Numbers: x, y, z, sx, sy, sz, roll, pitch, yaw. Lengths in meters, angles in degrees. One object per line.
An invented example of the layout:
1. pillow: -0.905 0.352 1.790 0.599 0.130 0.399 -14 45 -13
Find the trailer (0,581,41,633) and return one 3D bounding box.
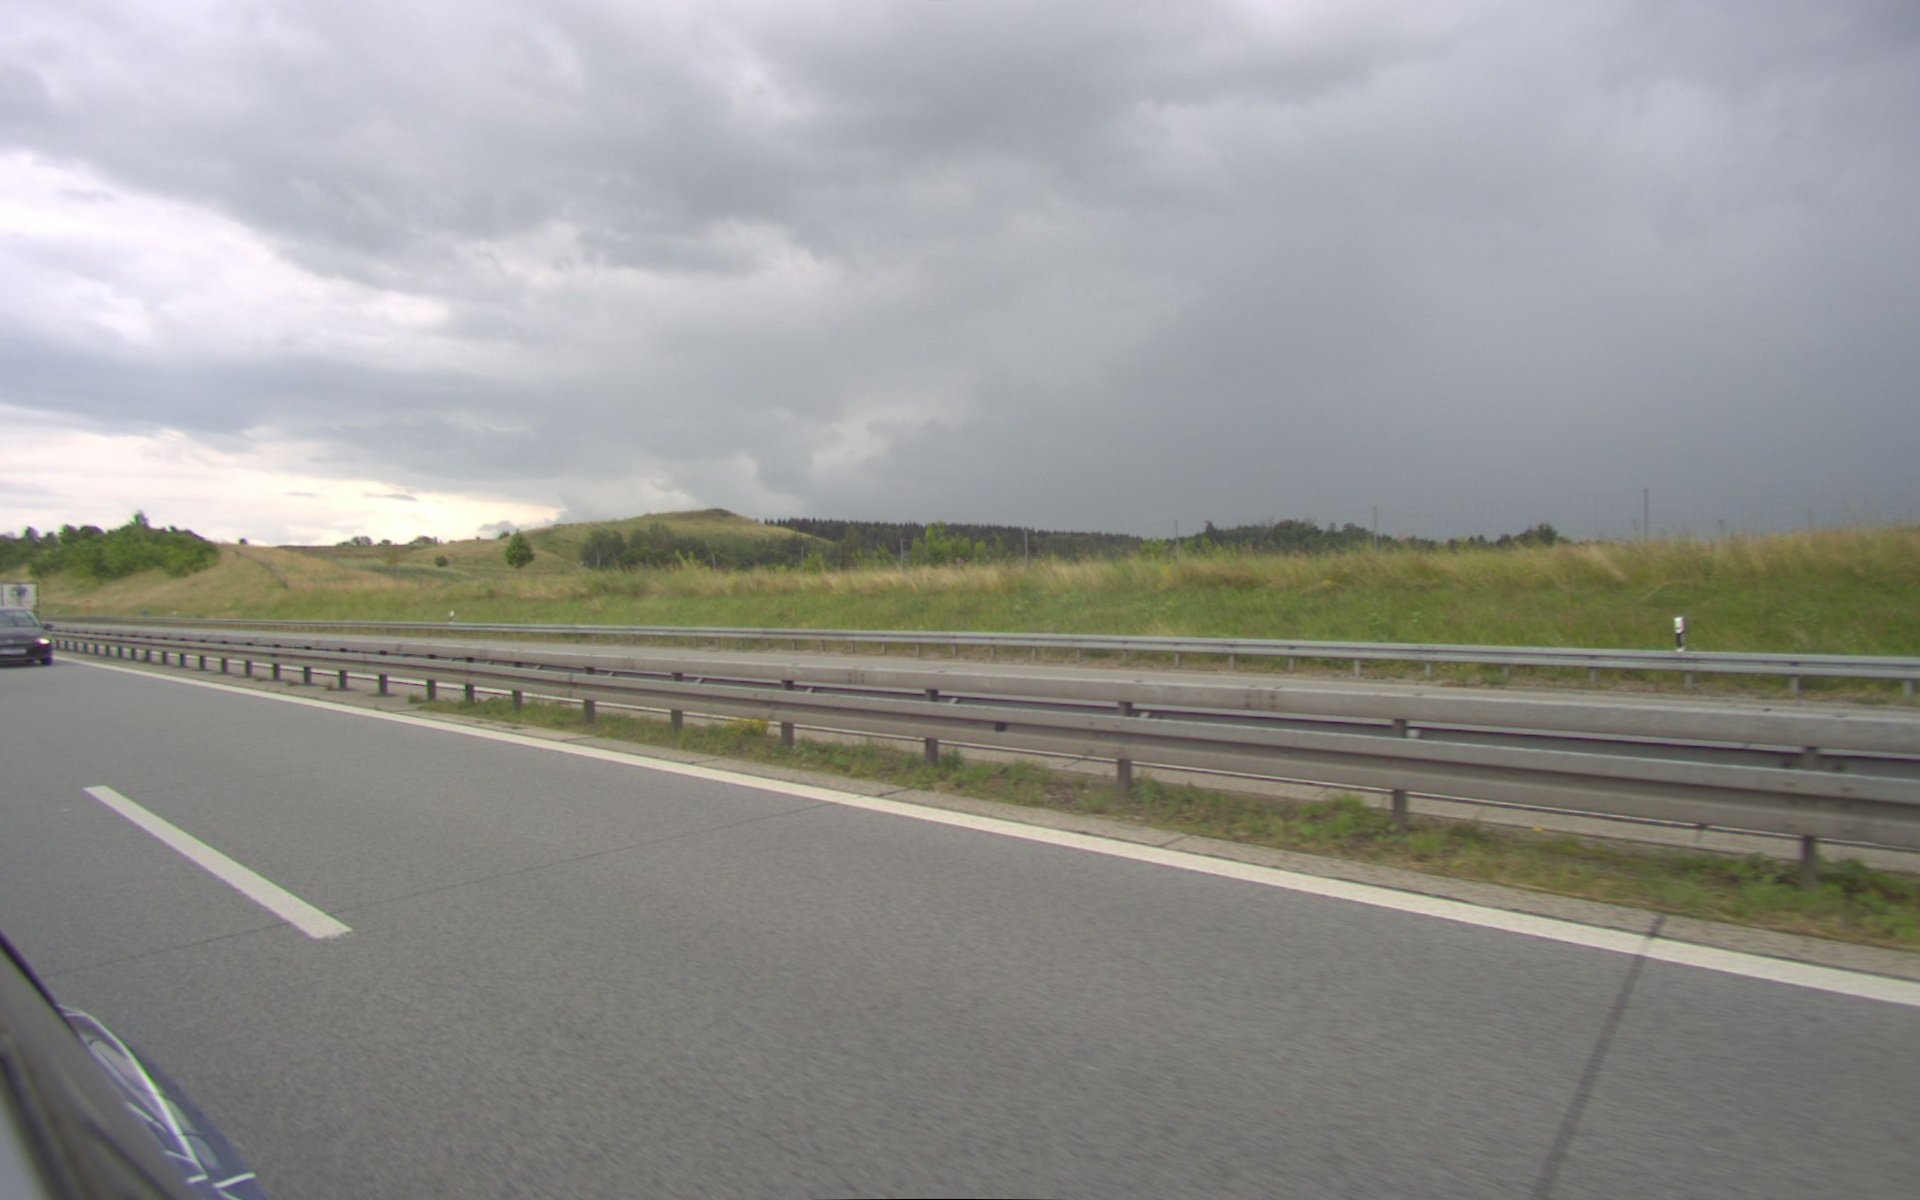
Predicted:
1. trailer: -91.081 0.701 96.877 14.836 4.685 2.767 -1 0 41

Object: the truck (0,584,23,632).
1. truck: -96.222 0.808 101.292 6.915 4.682 2.767 -1 0 40

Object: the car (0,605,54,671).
1. car: -26.542 0.999 27.820 5.395 1.683 1.876 -1 0 42
